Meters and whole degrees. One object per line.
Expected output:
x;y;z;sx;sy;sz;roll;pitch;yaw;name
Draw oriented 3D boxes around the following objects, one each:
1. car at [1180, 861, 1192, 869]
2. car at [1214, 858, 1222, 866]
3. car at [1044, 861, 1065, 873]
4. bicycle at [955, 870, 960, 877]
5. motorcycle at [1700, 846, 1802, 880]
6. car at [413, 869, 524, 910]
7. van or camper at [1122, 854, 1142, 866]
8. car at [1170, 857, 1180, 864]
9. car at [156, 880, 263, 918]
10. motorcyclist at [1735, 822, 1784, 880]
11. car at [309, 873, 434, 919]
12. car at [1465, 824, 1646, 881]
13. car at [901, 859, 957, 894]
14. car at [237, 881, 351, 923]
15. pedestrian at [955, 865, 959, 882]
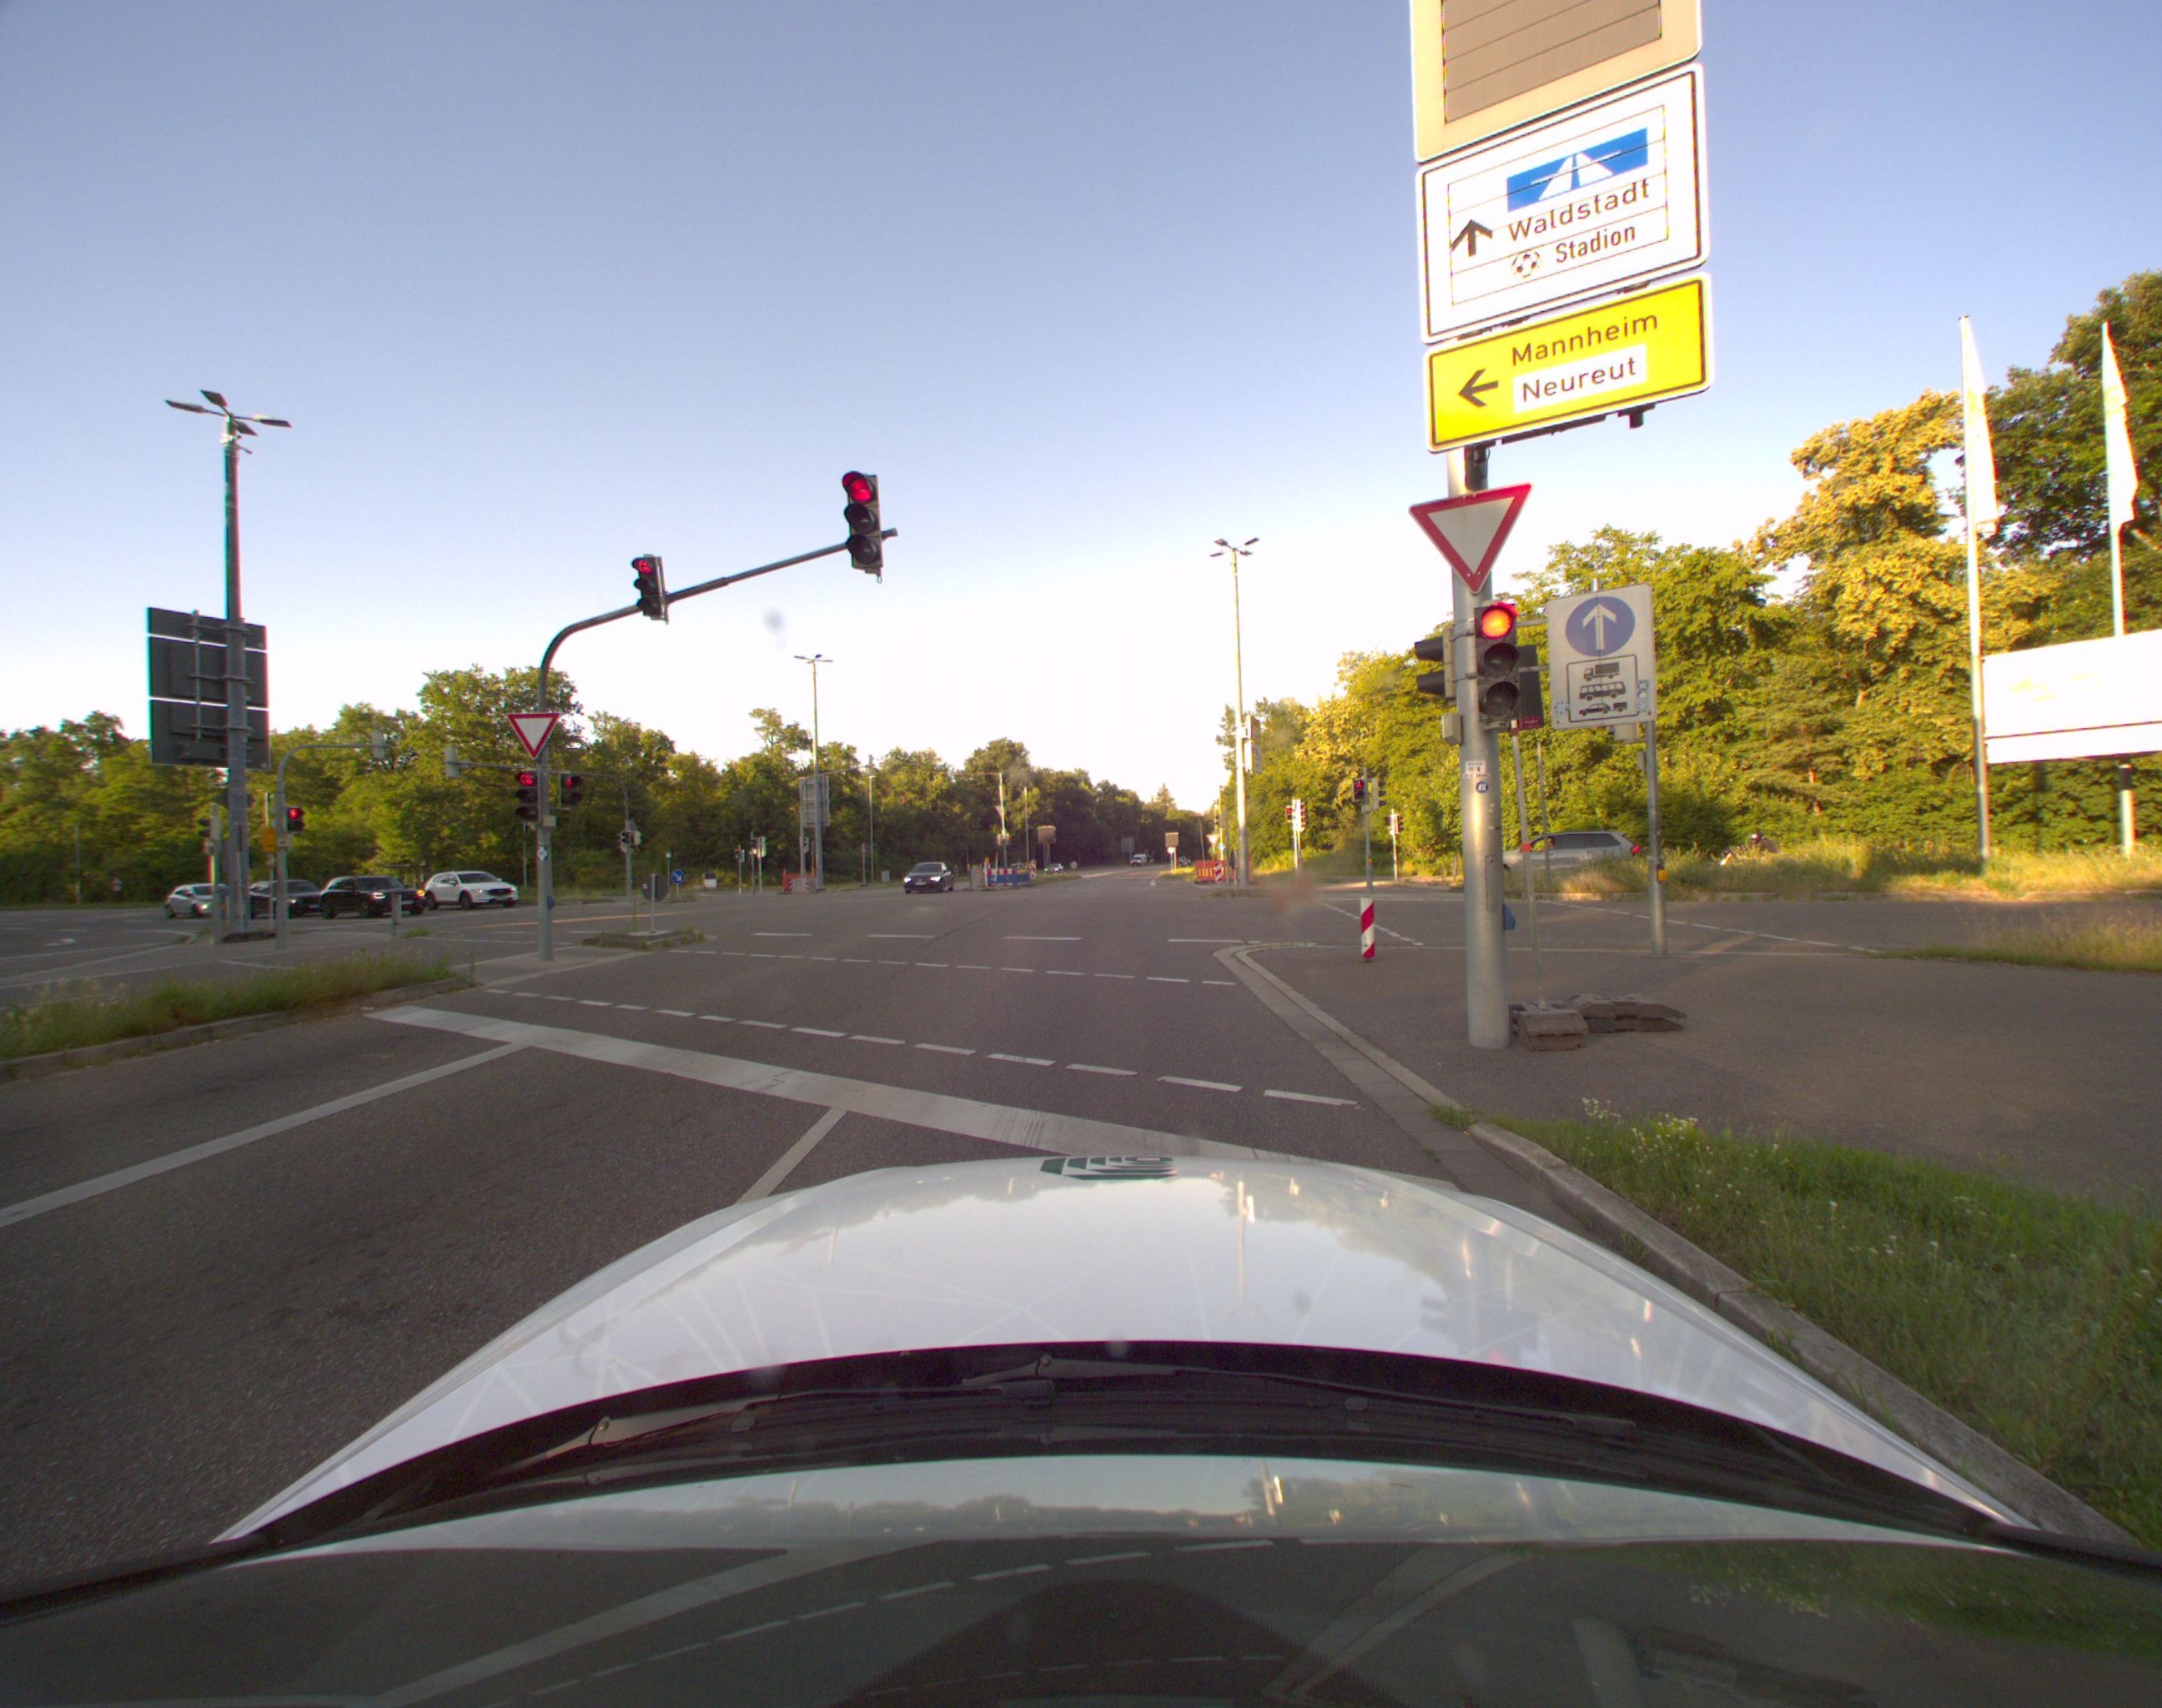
21.502;2.264;166.852;1.979;1.618;4.016;-2;0;14;car
37.578;2.172;223.354;1.774;2.013;4.017;-2;0;16;car
-3.562;1.754;109.834;1.980;1.420;4.013;-2;0;11;car
-14.832;2.335;97.560;0.306;0.766;1.279;-2;0;2;bicycle
19.055;0.259;23.208;2.125;0.910;0.666;-2;0;23;motorcycle
-26.759;1.560;35.573;4.206;1.640;2.011;-2;0;23;car
11.660;1.336;186.256;2.863;2.652;7.152;-2;0;16;van or camper
25.105;1.666;218.047;1.979;1.640;4.017;-3;1;15;car
-41.256;2.121;38.552;4.207;1.640;2.011;-2;0;21;car
19.252;-0.087;23.117;0.878;1.595;0.658;-2;0;23;motorcyclist
-27.553;1.625;31.633;4.206;1.640;2.011;-2;0;23;car
15.030;-0.029;26.143;4.773;1.598;2.011;-2;0;23;car
-7.225;1.028;39.164;1.989;1.530;4.673;-2;0;-3;car
-33.924;2.072;35.110;4.205;1.640;2.011;-2;0;23;car
-14.836;2.288;97.578;0.333;2.013;0.315;-2;0;1;pedestrian
